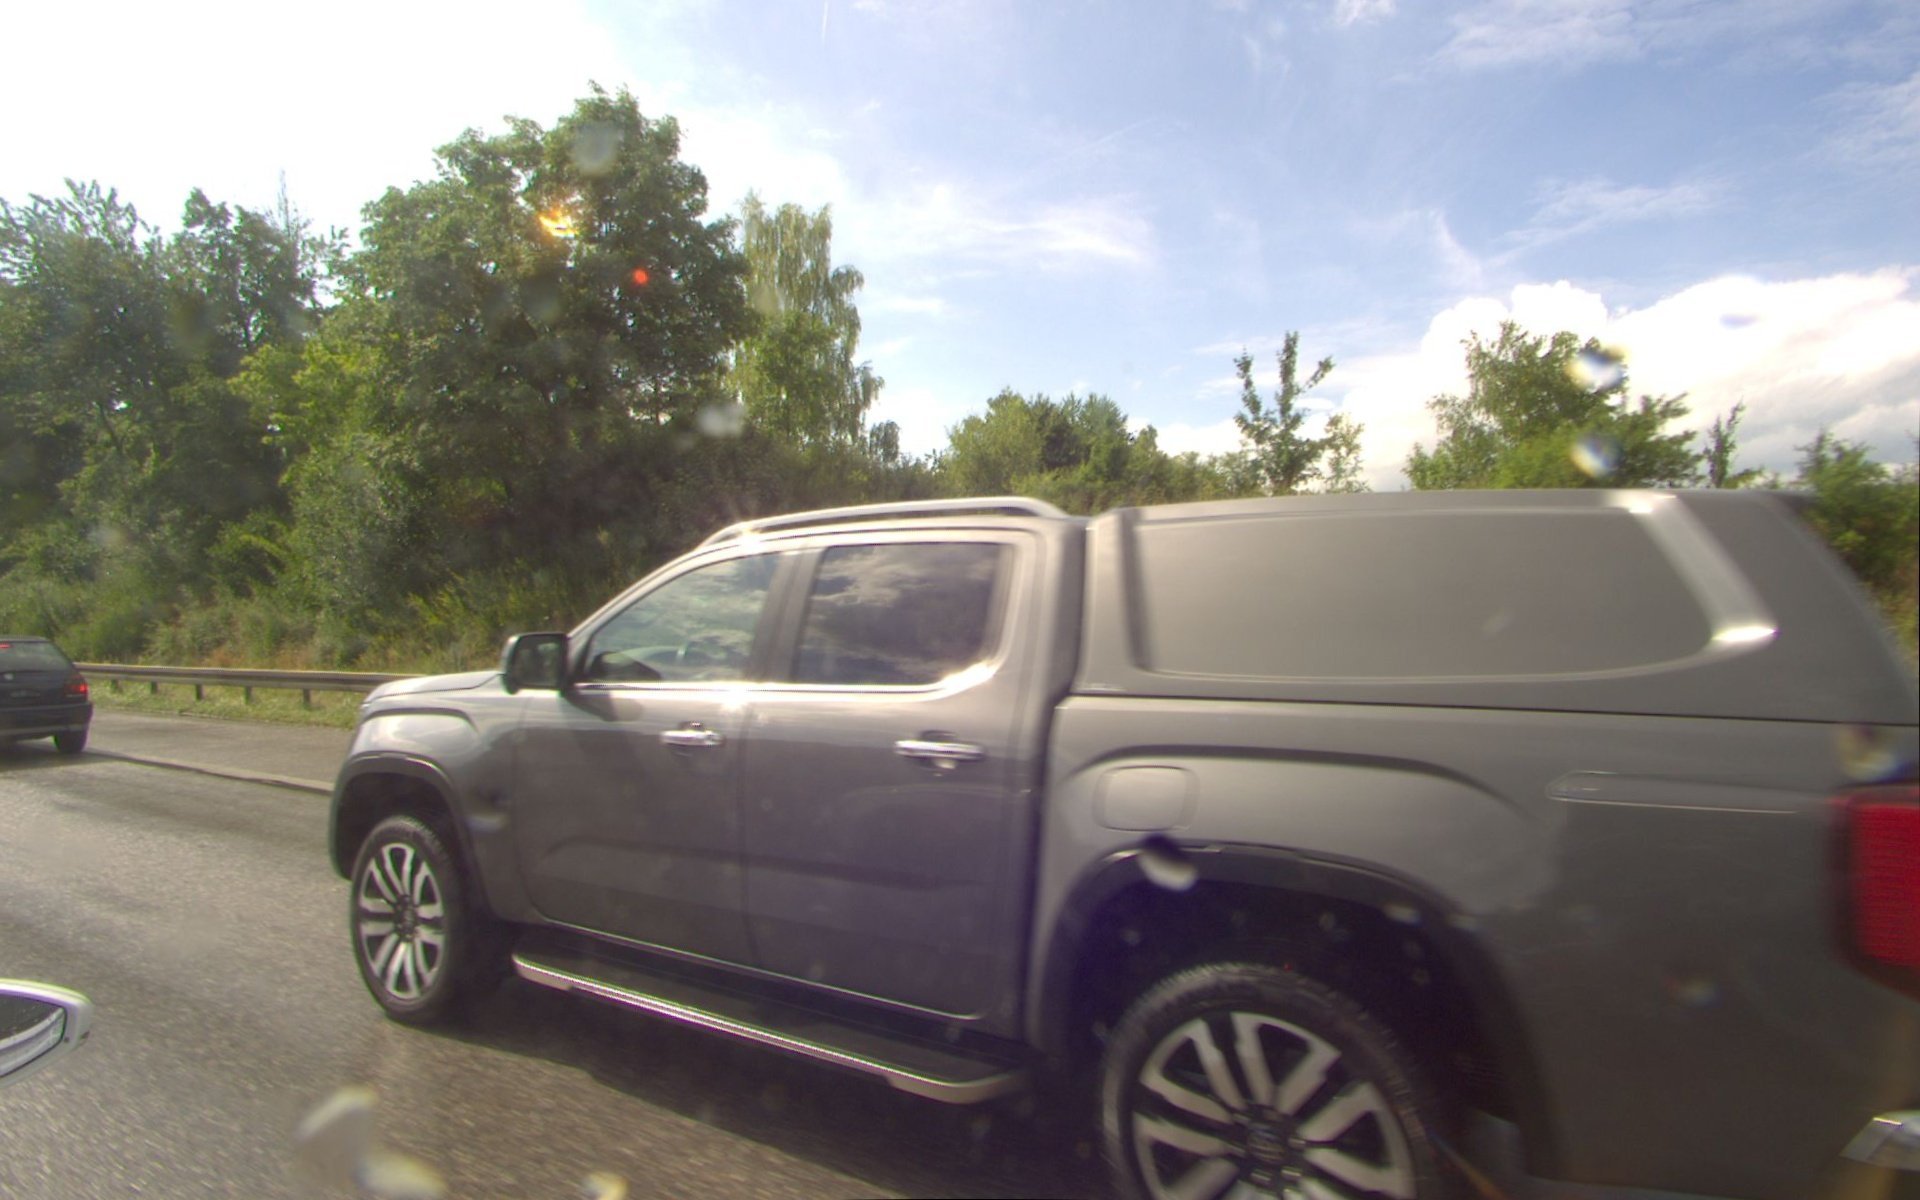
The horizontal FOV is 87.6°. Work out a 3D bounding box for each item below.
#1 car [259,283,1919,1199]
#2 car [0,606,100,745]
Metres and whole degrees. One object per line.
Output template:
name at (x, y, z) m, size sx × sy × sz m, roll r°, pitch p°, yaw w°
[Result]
car at (-0.019, 0.575, 3.505) m, size 5.570 × 1.943 × 1.939 m, roll -1°, pitch -2°, yaw 31°
car at (-12.229, 0.877, 12.140) m, size 3.918 × 1.535 × 1.589 m, roll -1°, pitch -2°, yaw 31°
